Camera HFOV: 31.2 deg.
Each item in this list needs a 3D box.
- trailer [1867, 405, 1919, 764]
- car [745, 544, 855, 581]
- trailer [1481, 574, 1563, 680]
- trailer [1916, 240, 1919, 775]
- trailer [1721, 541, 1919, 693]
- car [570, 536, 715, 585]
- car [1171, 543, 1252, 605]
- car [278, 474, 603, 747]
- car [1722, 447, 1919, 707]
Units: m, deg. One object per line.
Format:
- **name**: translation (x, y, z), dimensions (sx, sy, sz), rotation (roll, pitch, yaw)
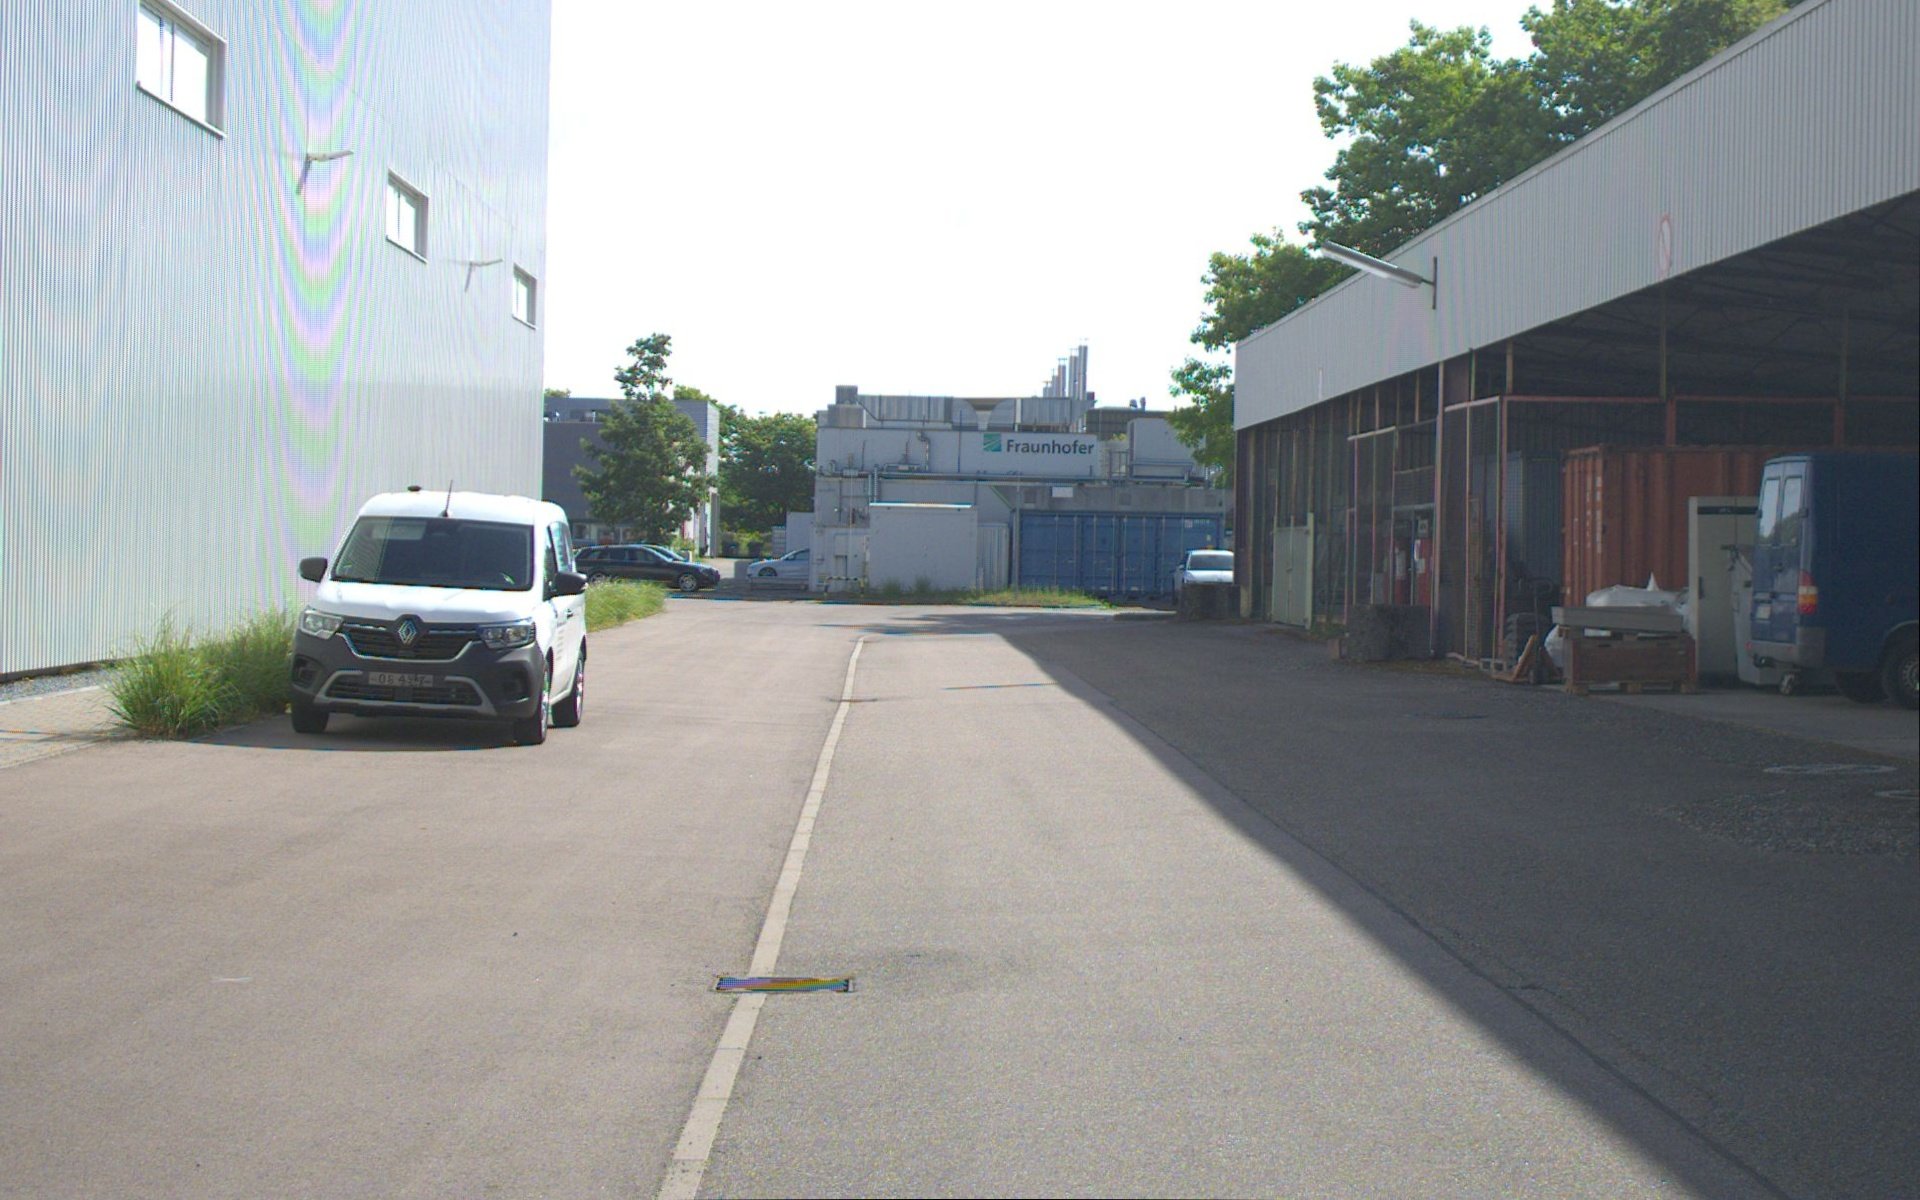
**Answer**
- **trailer**: translation (8.503, -0.110, 22.622), dimensions (4.516, 2.334, 2.047), rotation (0, 0, 0)
- **car**: translation (-6.296, -1.485, 135.891), dimensions (4.302, 1.452, 1.824), rotation (0, 0, -1)
- **trailer**: translation (6.061, 0.275, 37.119), dimensions (0.551, 1.114, 1.547), rotation (0, 0, -3)
- **trailer**: translation (11.127, -0.573, 20.150), dimensions (10.267, 3.331, 2.801), rotation (0, 1, 0)
- **trailer**: translation (8.715, 0.155, 34.039), dimensions (2.038, 1.461, 1.738), rotation (0, 1, 3)
- **car**: translation (-9.951, -1.240, 107.948), dimensions (4.447, 1.526, 1.824), rotation (0, 0, -1)
- **car**: translation (6.977, -0.743, 95.701), dimensions (1.979, 1.597, 4.377), rotation (0, 2, 0)
- **car**: translation (-3.829, 0.055, 26.066), dimensions (1.783, 1.809, 4.602), rotation (3, 0, -1)
- **car**: translation (9.894, -0.190, 31.436), dimensions (5.332, 2.273, 2.153), rotation (1, 0, -2)
